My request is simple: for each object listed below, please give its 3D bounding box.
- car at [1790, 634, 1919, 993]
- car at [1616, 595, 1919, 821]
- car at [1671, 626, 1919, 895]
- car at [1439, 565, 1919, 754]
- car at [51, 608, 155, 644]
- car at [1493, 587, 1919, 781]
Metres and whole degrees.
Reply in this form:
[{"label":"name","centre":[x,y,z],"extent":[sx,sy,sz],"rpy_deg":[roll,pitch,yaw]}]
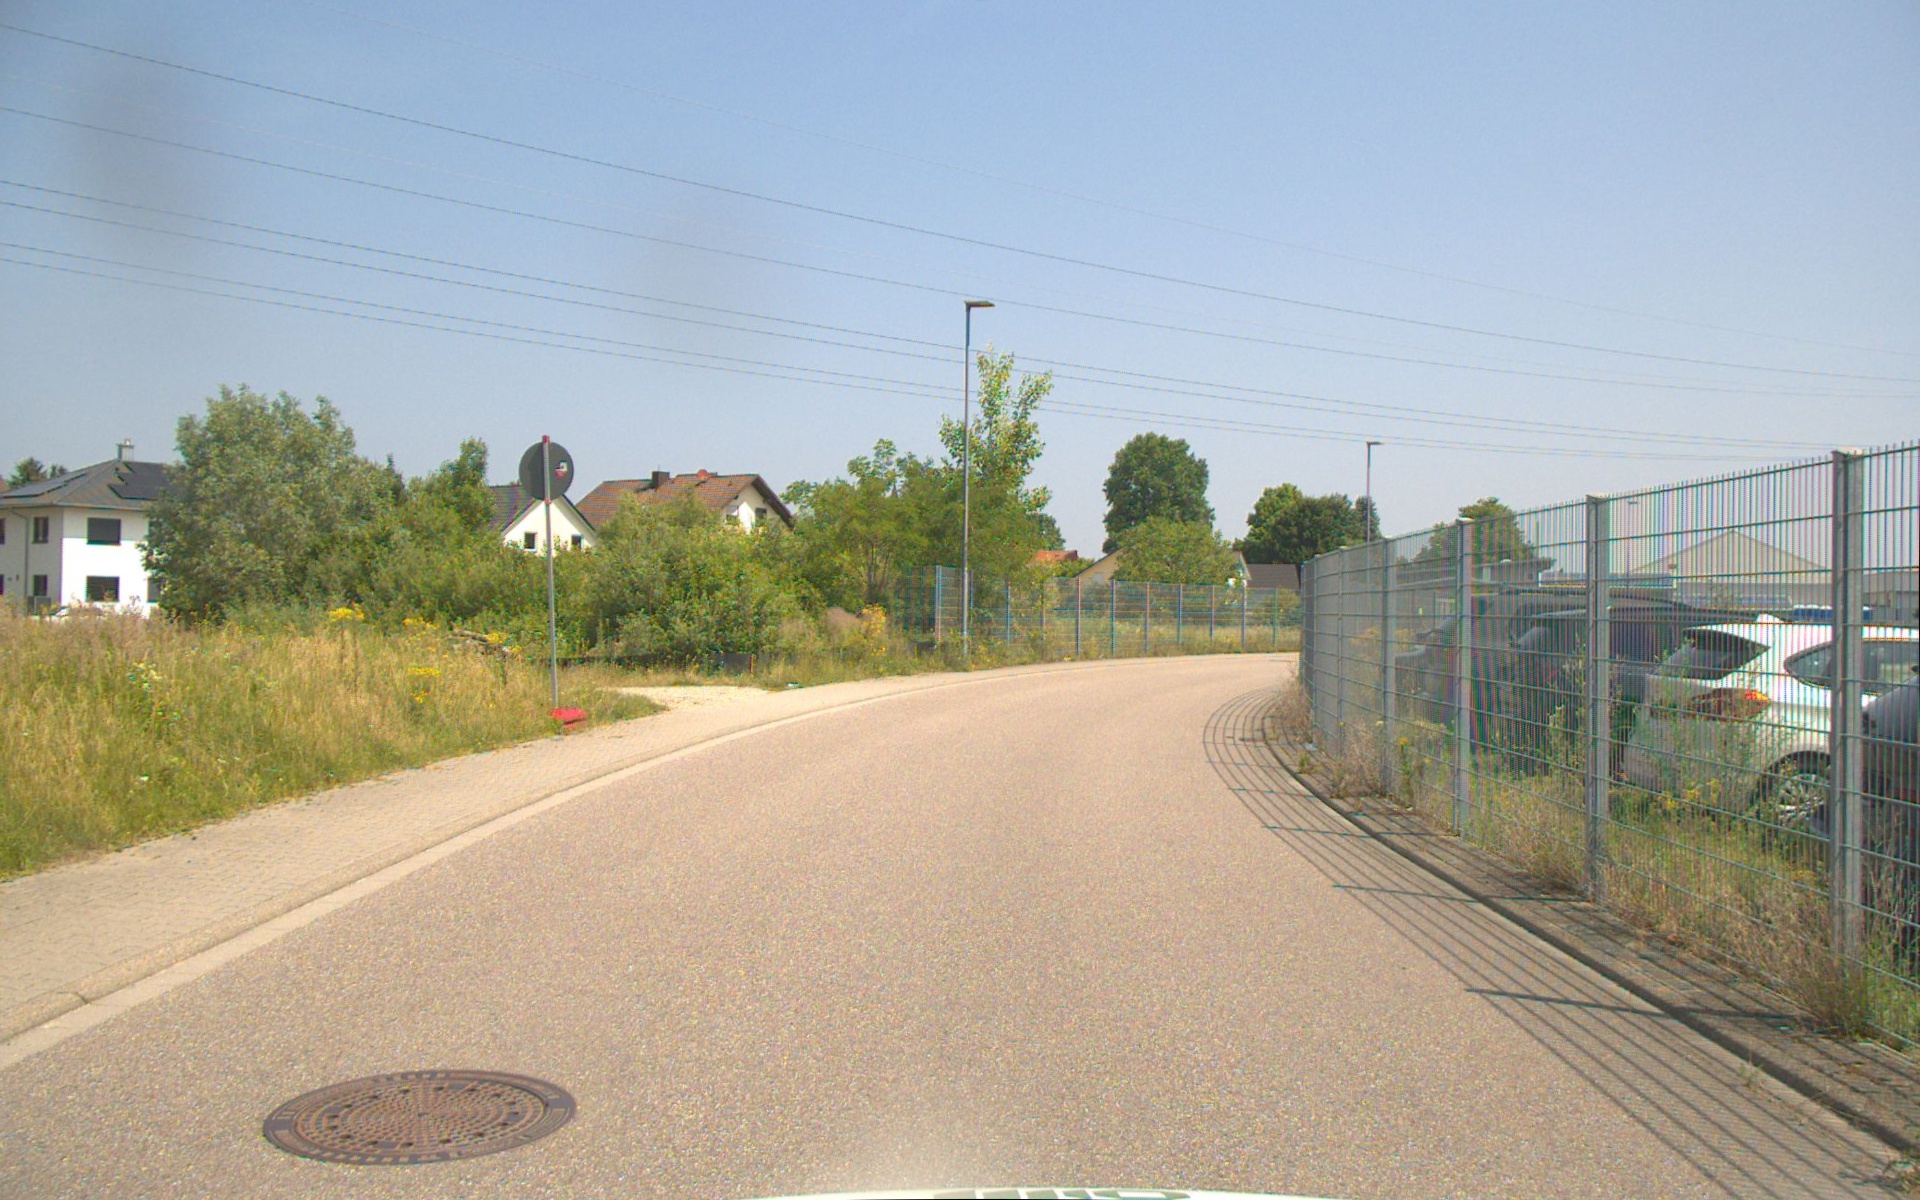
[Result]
[{"label":"car","centre":[5.949,0.847,6.747],"extent":[4.282,1.340,1.721],"rpy_deg":[0,0,12]},{"label":"car","centre":[6.465,0.692,11.321],"extent":[3.392,1.442,1.517],"rpy_deg":[0,0,6]},{"label":"car","centre":[5.886,0.838,9.079],"extent":[3.391,1.340,1.643],"rpy_deg":[0,0,12]},{"label":"car","centre":[7.399,0.561,16.991],"extent":[4.585,1.800,1.744],"rpy_deg":[0,0,9]},{"label":"car","centre":[-42.293,1.279,81.690],"extent":[4.222,1.724,1.968],"rpy_deg":[0,0,-44]},{"label":"car","centre":[7.135,0.706,14.868],"extent":[4.204,1.631,1.693],"rpy_deg":[0,0,6]}]
